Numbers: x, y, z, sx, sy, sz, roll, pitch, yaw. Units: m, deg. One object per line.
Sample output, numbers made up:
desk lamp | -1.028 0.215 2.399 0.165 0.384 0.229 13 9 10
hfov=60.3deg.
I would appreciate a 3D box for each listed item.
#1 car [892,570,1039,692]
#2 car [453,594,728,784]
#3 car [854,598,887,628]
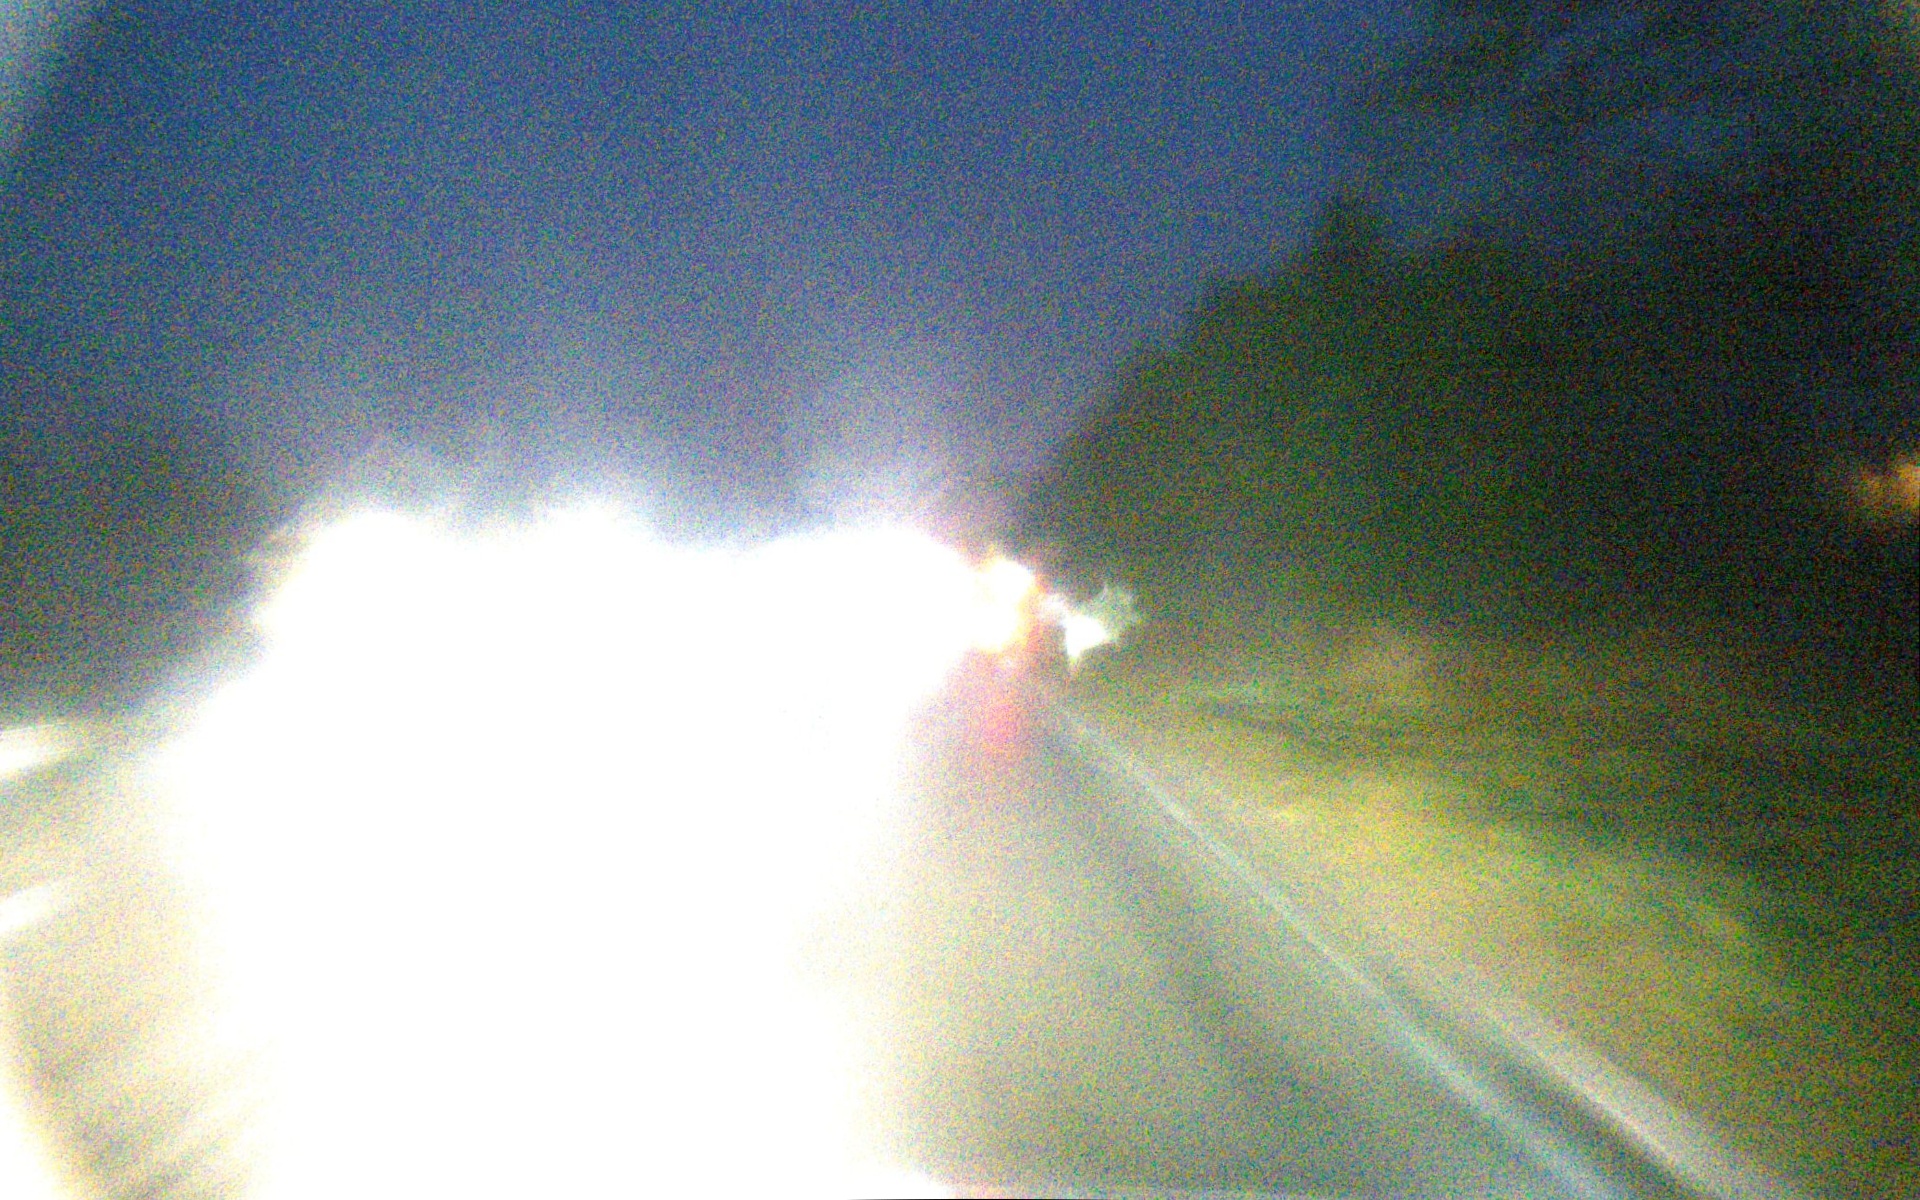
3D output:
car | 0.061 0.521 30.027 2.408 1.993 4.910 1 0 -1
car | -3.453 0.747 16.293 1.729 1.546 4.489 -2 0 -1
car | -4.931 0.717 91.621 1.759 1.565 3.799 -2 0 -3
